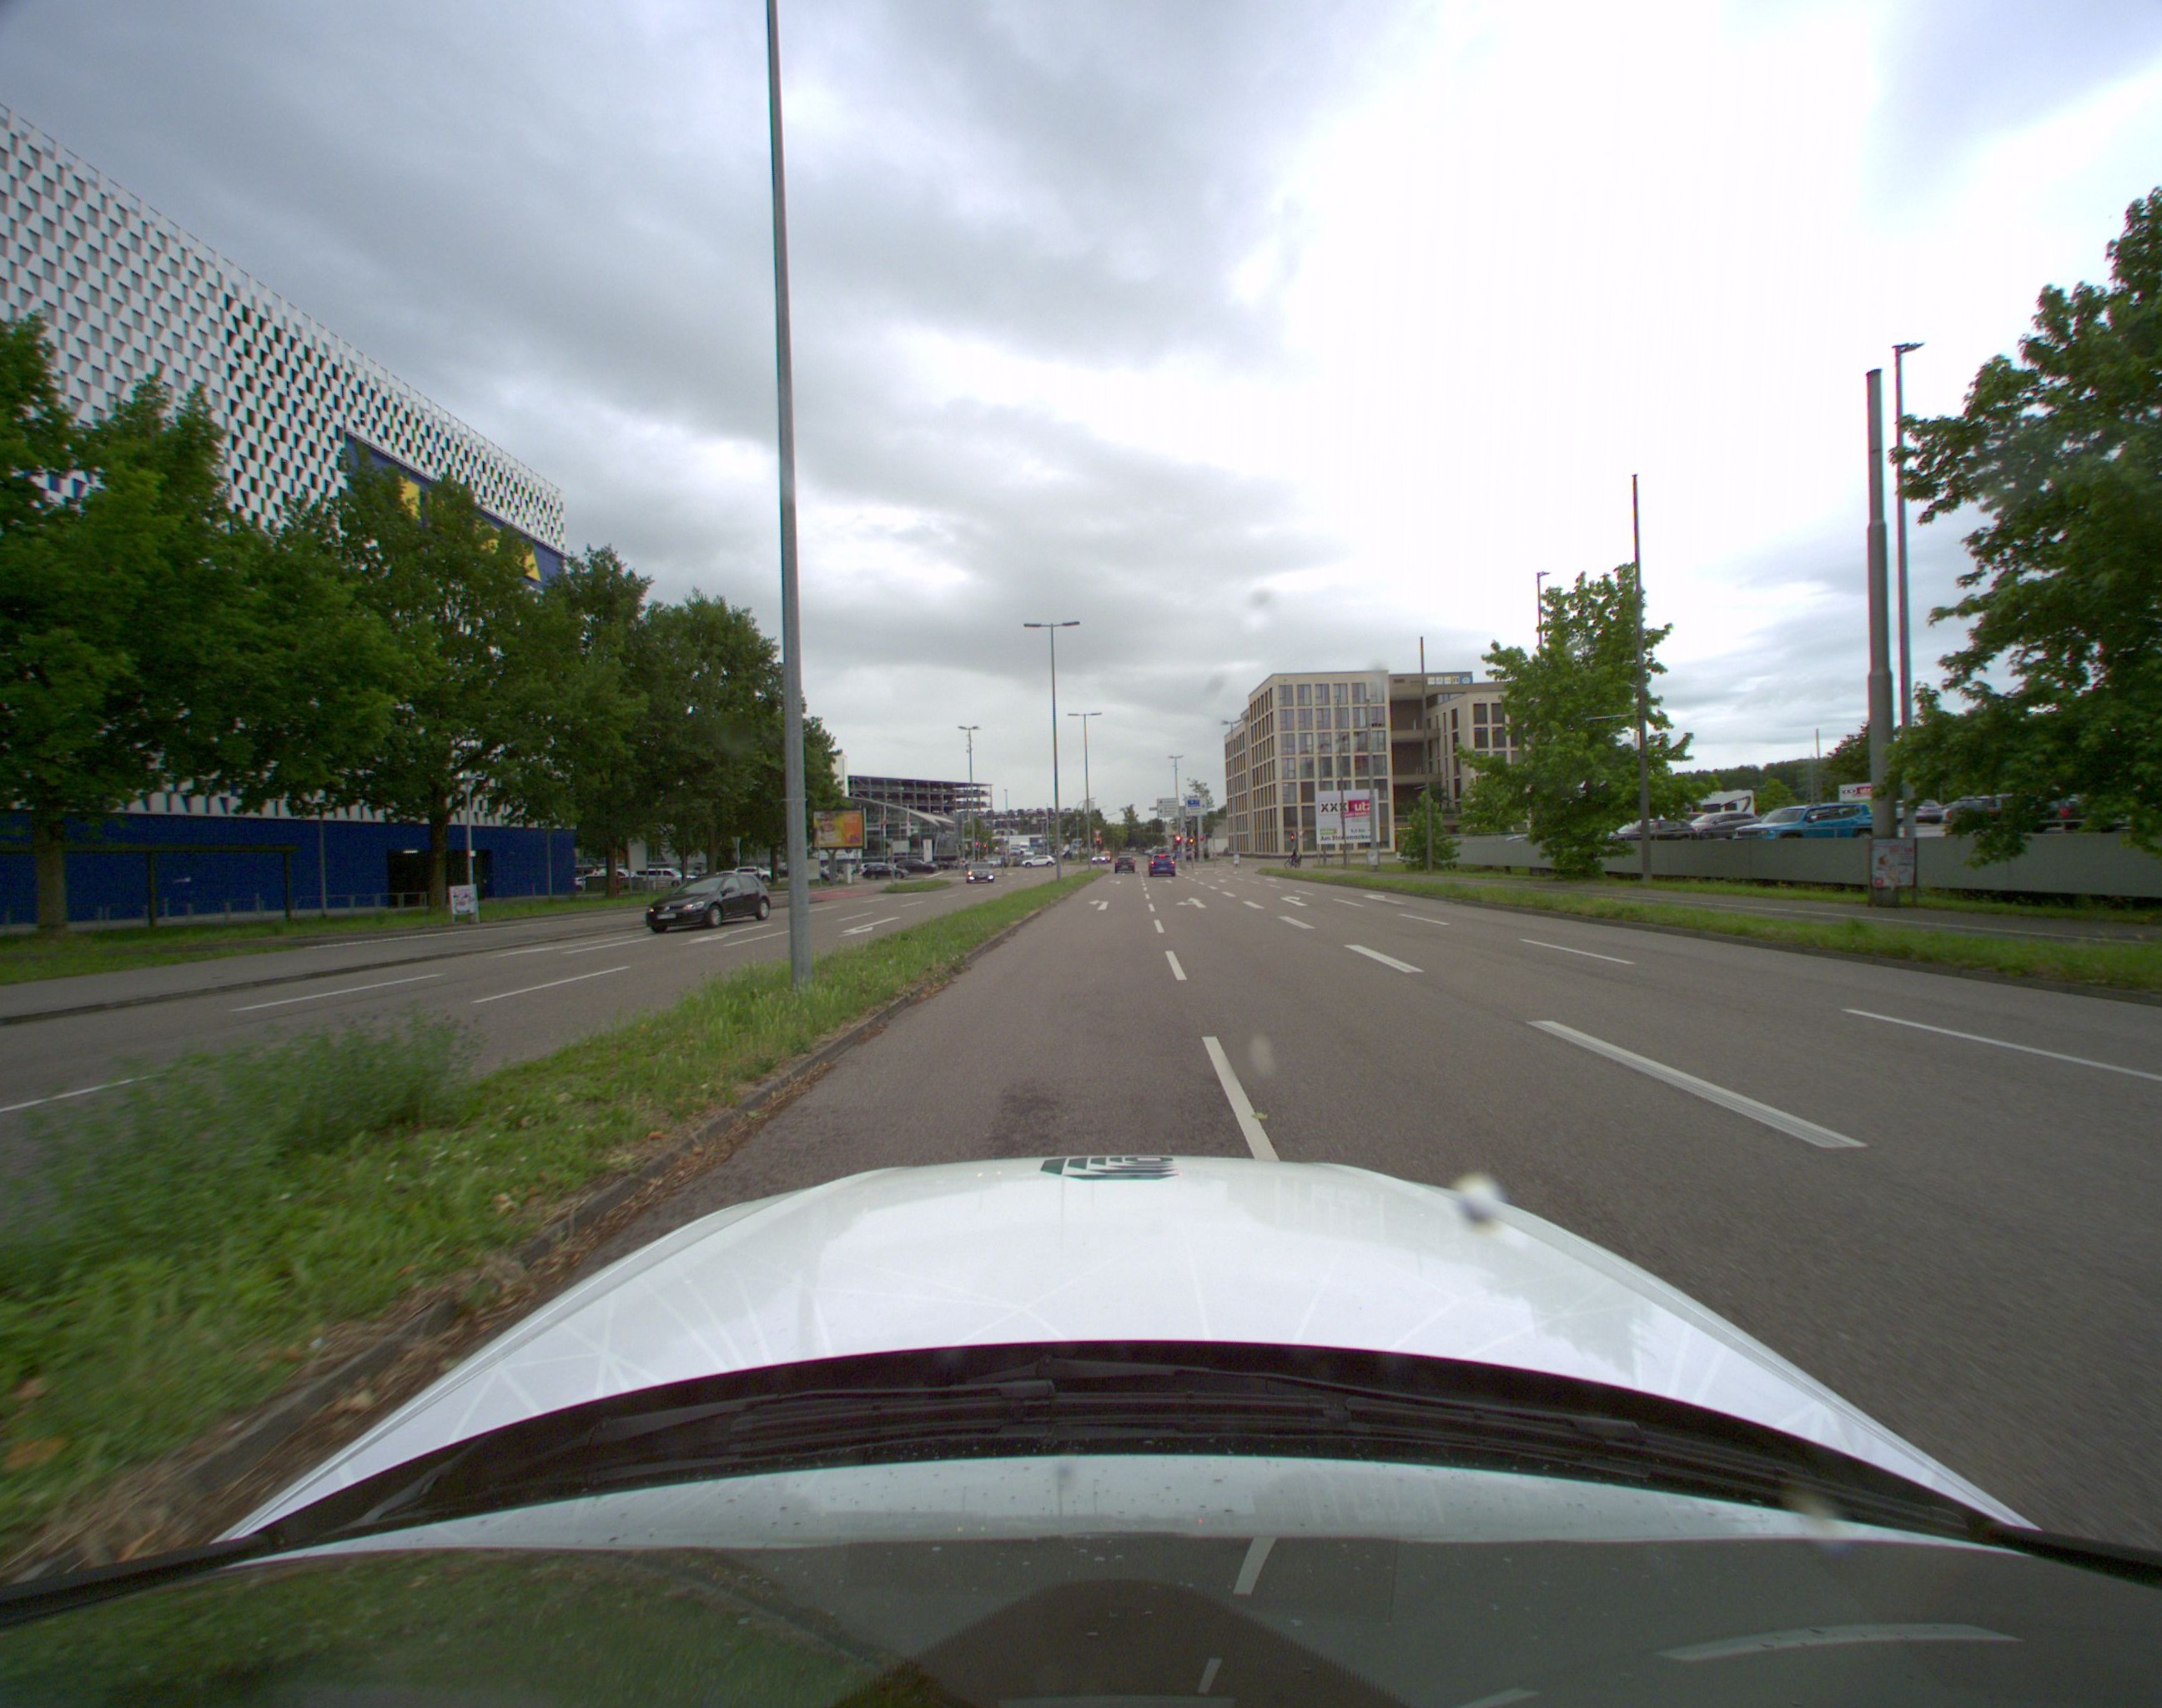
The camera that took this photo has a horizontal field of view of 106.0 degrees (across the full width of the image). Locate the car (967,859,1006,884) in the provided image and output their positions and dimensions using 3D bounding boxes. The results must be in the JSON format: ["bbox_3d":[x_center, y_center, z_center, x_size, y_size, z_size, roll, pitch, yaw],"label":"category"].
[{"bbox_3d":[-6.580,1.198,57.033,1.783,1.479,4.537,-4,0,5],"label":"car"}]

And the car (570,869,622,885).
[{"bbox_3d":[-51.539,2.403,86.615,4.215,1.504,1.993,-2,1,-1],"label":"car"}]

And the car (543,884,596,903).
[{"bbox_3d":[-52.254,4.034,83.287,4.107,1.667,1.847,-2,2,-1],"label":"car"}]

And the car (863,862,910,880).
[{"bbox_3d":[-20.006,1.754,83.904,4.408,1.660,1.997,-2,0,-4],"label":"car"}]

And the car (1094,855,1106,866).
[{"bbox_3d":[2.773,0.891,117.818,1.594,1.453,3.328,-2,2,3],"label":"car"}]

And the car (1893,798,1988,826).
[{"bbox_3d":[54.502,-2.666,51.688,3.971,1.578,1.868,-1,0,2],"label":"car"}]

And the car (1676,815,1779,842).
[{"bbox_3d":[35.209,-1.394,44.445,4.082,1.315,1.758,-2,2,10],"label":"car"}]

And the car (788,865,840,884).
[{"bbox_3d":[-27.393,2.062,83.649,4.534,1.659,1.997,-3,0,-4],"label":"car"}]

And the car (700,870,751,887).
[{"bbox_3d":[-36.378,2.506,83.441,4.215,1.512,1.993,-2,1,-1],"label":"car"}]

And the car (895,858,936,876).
[{"bbox_3d":[-18.363,1.426,90.664,4.404,1.643,1.993,-2,2,-11],"label":"car"}]

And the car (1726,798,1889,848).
[{"bbox_3d":[24.794,-1.060,27.899,4.057,1.524,1.811,-2,1,-2],"label":"car"}]

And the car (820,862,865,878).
[{"bbox_3d":[-25.461,1.692,86.993,4.240,1.509,1.998,-2,2,-4],"label":"car"}]

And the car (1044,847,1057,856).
[{"bbox_3d":[-5.949,-0.511,158.386,1.766,1.705,3.926,-2,2,8],"label":"car"}]

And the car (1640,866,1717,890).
[{"bbox_3d":[36.451,1.466,49.753,3.604,1.285,1.460,-2,2,4],"label":"car"}]

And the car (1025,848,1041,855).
[{"bbox_3d":[-11.188,-0.555,189.541,3.656,1.528,1.612,-2,2,-4],"label":"car"}]

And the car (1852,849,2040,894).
[{"bbox_3d":[24.093,0.482,22.776,3.500,1.131,1.607,-1,0,2],"label":"car"}]

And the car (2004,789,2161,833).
[{"bbox_3d":[39.496,-1.667,32.165,3.824,1.507,1.787,-2,1,5],"label":"car"}]

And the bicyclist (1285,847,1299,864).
[{"bbox_3d":[18.318,0.138,70.683,0.705,1.504,0.990,-2,0,-34],"label":"bicyclist"}]

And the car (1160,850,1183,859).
[{"bbox_3d":[16.100,0.126,144.511,3.571,1.478,1.770,-1,2,23],"label":"car"}]

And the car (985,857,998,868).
[{"bbox_3d":[-12.057,1.172,109.419,1.372,1.326,3.022,-2,2,-11],"label":"car"}]

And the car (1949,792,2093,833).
[{"bbox_3d":[39.590,-1.740,34.392,3.824,1.507,1.787,-2,1,5],"label":"car"}]

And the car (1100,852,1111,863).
[{"bbox_3d":[3.794,0.548,125.931,1.594,1.453,3.328,-2,2,3],"label":"car"}]

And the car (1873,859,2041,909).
[{"bbox_3d":[34.680,1.155,32.342,4.348,1.832,2.002,-1,0,3],"label":"car"}]

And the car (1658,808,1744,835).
[{"bbox_3d":[35.982,-1.867,47.347,3.675,1.420,1.624,-2,1,5],"label":"car"}]

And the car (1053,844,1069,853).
[{"bbox_3d":[-4.067,-1.098,168.468,3.285,1.640,1.479,-2,2,-1],"label":"car"}]

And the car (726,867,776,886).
[{"bbox_3d":[-35.128,2.378,86.778,4.422,1.711,1.999,-2,4,-3],"label":"car"}]

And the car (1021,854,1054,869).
[{"bbox_3d":[-5.391,0.936,99.652,3.937,1.567,1.757,-2,2,-6],"label":"car"}]

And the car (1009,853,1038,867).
[{"bbox_3d":[-8.053,0.839,114.456,3.976,1.790,1.846,-2,2,-2],"label":"car"}]

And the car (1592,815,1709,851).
[{"bbox_3d":[24.553,-0.925,35.201,3.860,1.384,1.720,-2,1,0],"label":"car"}]

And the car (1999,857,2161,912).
[{"bbox_3d":[23.721,0.681,18.694,3.500,1.131,1.516,-1,0,1],"label":"car"}]

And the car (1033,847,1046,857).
[{"bbox_3d":[-8.130,-0.441,158.433,1.766,1.705,3.926,-2,2,8],"label":"car"}]

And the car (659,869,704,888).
[{"bbox_3d":[-42.627,2.564,86.860,3.750,1.746,1.879,-2,2,-2],"label":"car"}]

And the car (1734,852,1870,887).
[{"bbox_3d":[29.953,0.632,33.923,4.038,1.350,1.765,-1,0,2],"label":"car"}]

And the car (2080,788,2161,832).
[{"bbox_3d":[39.557,-1.652,29.712,3.825,1.507,1.786,-2,1,4],"label":"car"}]

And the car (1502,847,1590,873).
[{"bbox_3d":[24.750,0.304,43.428,3.679,1.176,1.721,-2,1,1],"label":"car"}]

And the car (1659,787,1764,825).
[{"bbox_3d":[40.692,-3.057,52.694,4.986,2.210,2.169,-2,2,6],"label":"car"}]

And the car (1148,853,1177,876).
[{"bbox_3d":[5.684,0.713,57.187,1.827,1.514,4.003,-1,1,2],"label":"car"}]

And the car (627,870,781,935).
[{"bbox_3d":[-10.395,1.289,22.868,1.921,1.455,4.190,-3,0,7],"label":"car"}]

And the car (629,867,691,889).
[{"bbox_3d":[-43.006,2.435,83.272,5.117,1.963,1.880,-2,3,-2],"label":"car"}]

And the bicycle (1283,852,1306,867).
[{"bbox_3d":[18.455,0.495,70.500,0.705,1.295,1.990,-2,0,-33],"label":"bicycle"}]

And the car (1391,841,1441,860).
[{"bbox_3d":[33.220,-0.311,80.861,4.161,1.752,1.996,-2,0,-6],"label":"car"}]

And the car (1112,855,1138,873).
[{"bbox_3d":[3.746,0.873,69.937,1.980,1.428,4.241,-2,-1,1],"label":"car"}]
